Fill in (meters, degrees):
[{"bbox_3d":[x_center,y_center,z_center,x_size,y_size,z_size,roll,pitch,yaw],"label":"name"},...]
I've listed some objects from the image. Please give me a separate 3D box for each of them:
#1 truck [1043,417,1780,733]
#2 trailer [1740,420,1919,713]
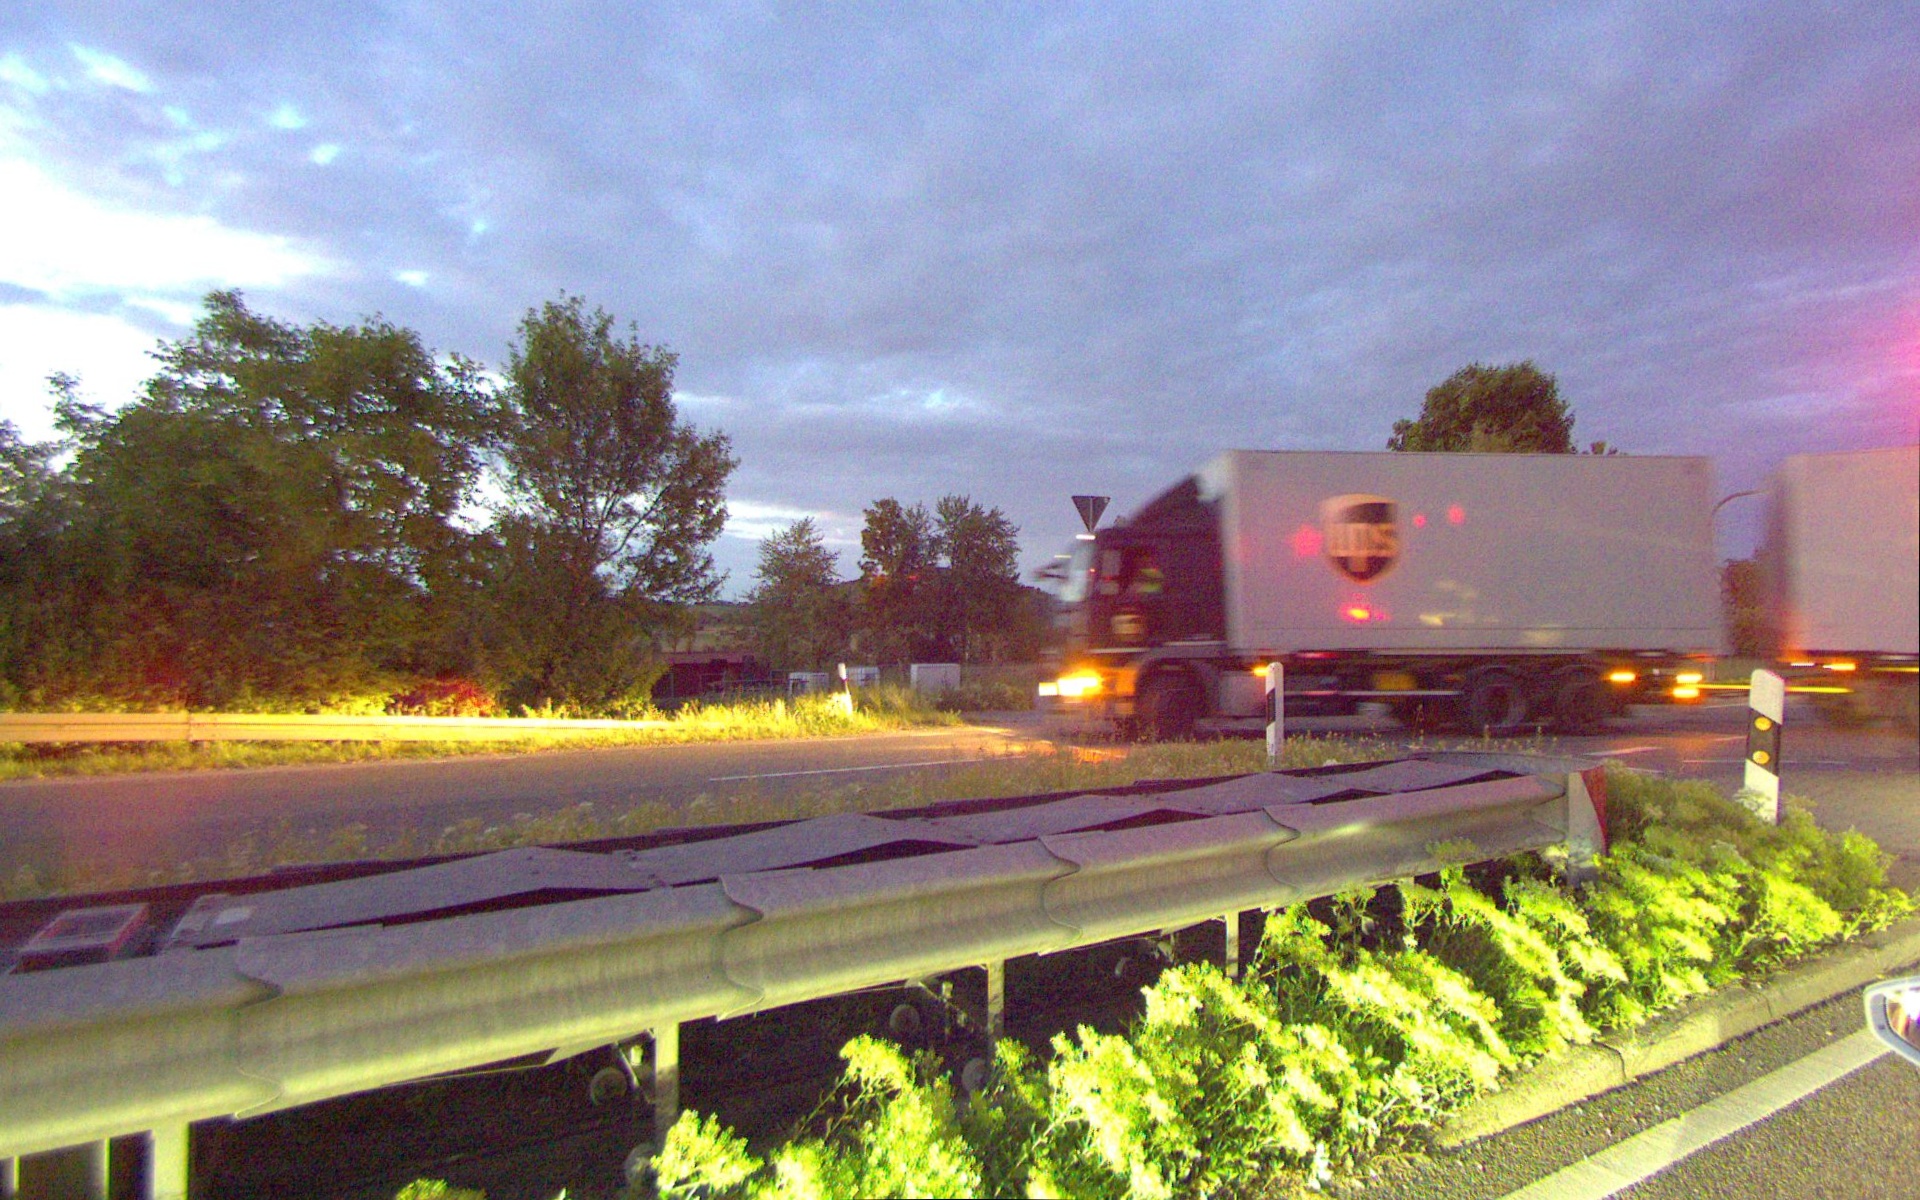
[{"bbox_3d":[6.524,-0.262,15.319,10.147,4.172,2.733,1,-1,-4],"label":"truck"},{"bbox_3d":[16.038,-0.483,13.314,8.727,3.995,2.578,-1,-2,33],"label":"trailer"}]
